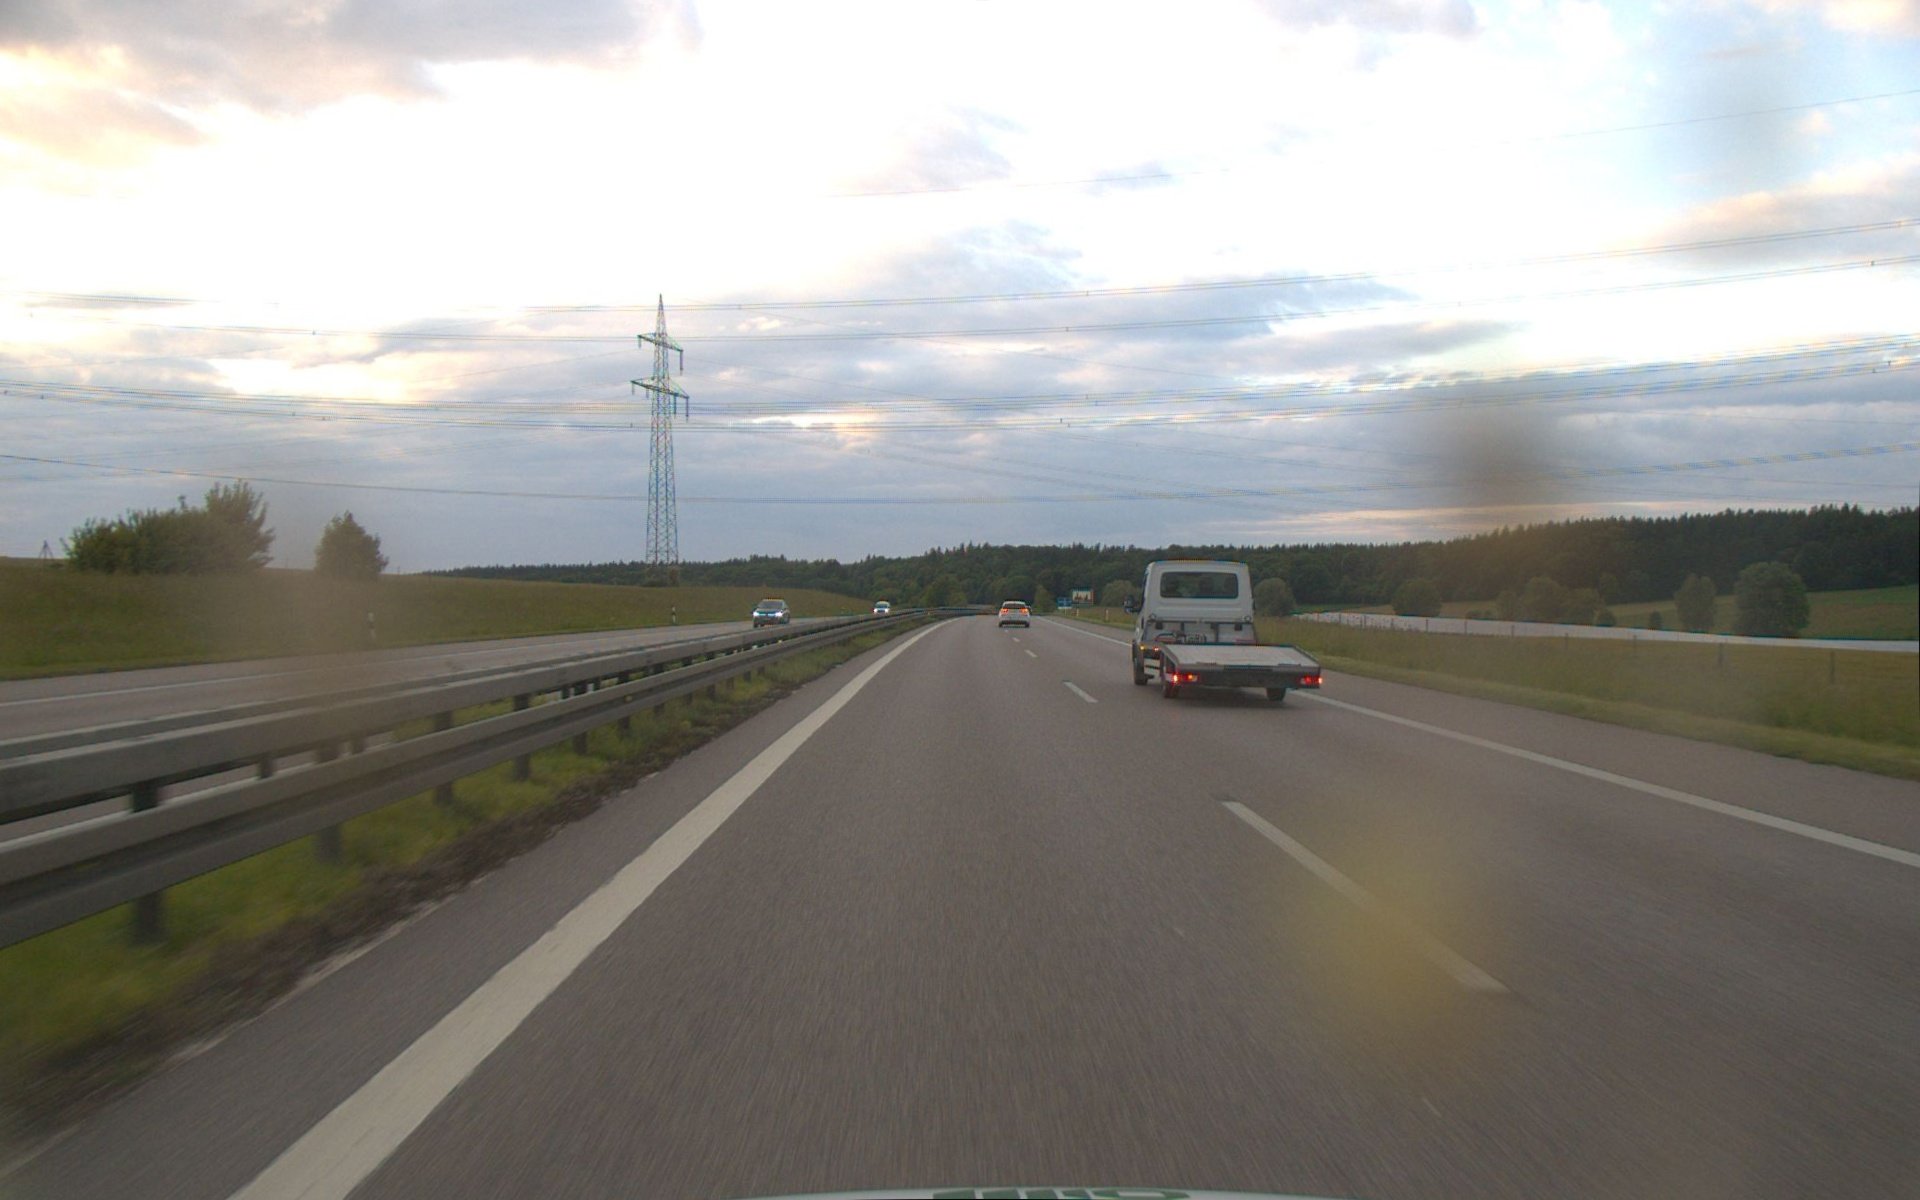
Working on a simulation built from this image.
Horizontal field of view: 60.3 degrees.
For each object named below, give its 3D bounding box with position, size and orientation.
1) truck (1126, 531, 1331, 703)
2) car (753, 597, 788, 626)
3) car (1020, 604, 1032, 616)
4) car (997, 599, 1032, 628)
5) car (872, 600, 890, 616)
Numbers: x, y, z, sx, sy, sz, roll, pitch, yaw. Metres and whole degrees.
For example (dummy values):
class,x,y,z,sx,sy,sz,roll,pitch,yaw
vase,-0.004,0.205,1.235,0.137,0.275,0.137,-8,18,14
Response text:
class,x,y,z,sx,sy,sz,roll,pitch,yaw
truck,4.214,0.248,27.418,2.127,2.401,7.696,1,0,0
car,-11.533,0.702,100.886,1.663,1.693,4.462,1,0,-1
car,10.278,1.561,257.958,1.911,1.761,4.081,1,0,2
car,3.132,0.763,95.549,1.911,1.558,4.080,1,0,1
car,-9.231,0.881,193.740,1.724,1.833,4.995,-1,0,1
